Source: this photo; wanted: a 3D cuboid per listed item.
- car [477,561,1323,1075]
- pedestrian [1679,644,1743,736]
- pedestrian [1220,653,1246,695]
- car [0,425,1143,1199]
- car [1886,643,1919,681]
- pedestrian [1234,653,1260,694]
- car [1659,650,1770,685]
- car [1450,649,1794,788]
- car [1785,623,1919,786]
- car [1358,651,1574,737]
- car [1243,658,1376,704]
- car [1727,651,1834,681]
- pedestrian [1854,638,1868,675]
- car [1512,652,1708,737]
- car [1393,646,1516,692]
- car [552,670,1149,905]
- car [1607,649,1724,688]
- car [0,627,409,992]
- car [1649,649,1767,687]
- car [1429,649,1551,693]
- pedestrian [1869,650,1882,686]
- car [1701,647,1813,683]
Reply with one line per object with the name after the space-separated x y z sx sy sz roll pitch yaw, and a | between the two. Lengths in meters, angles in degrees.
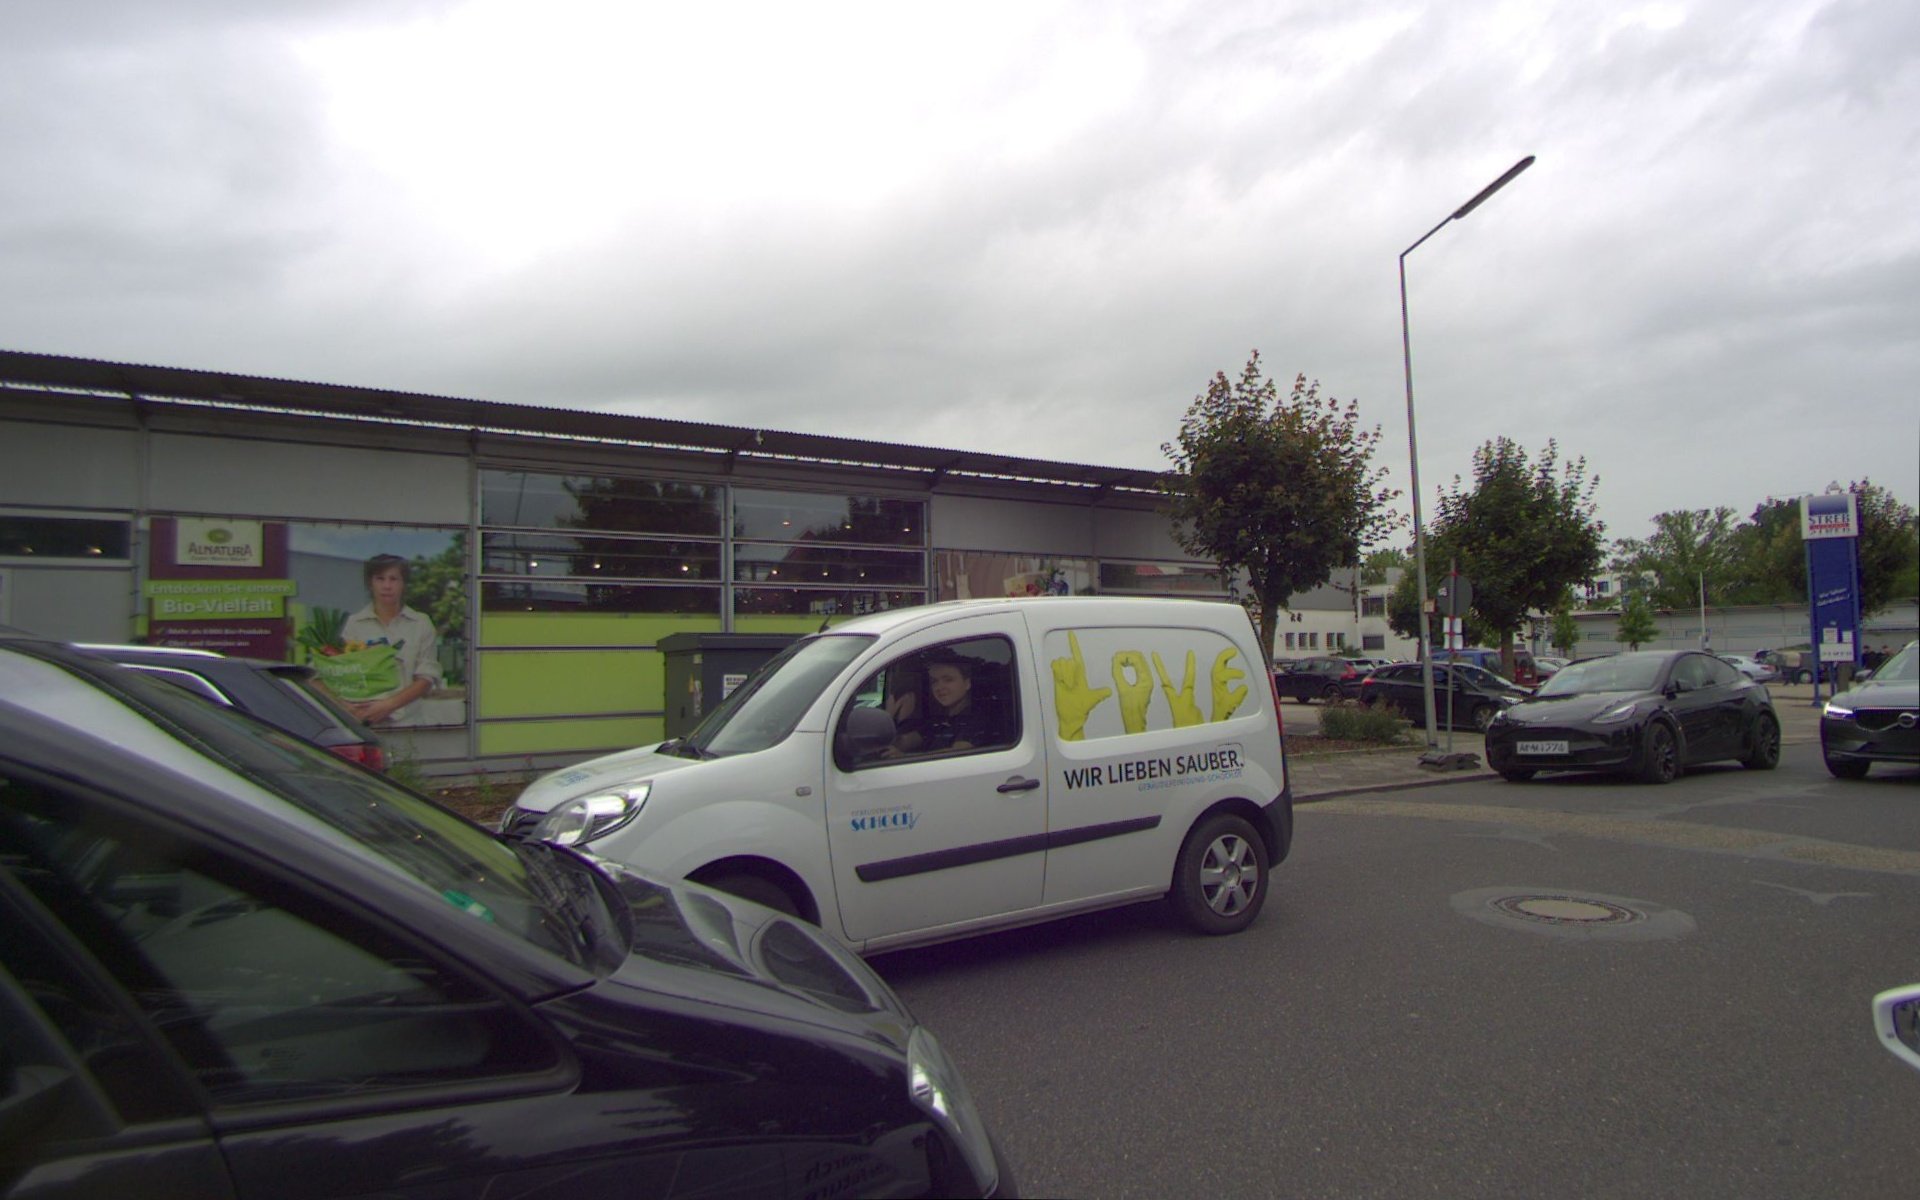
-0.216 0.846 5.262 4.084 1.783 1.683 1 -4 -29 | car
14.673 1.733 19.630 0.689 1.737 0.771 2 -3 -34 | pedestrian
11.377 3.070 41.913 0.689 1.738 0.795 1 -2 -34 | pedestrian
-1.739 0.708 1.301 3.714 1.653 1.674 1 -4 -30 | car
39.116 2.387 39.141 1.879 1.482 4.111 2 -4 -34 | car
12.211 3.115 42.728 0.689 1.738 0.795 1 -2 -34 | pedestrian
37.489 3.358 50.005 1.853 1.690 3.971 1 -4 -29 | car
8.704 1.498 13.154 4.351 1.545 1.939 1 -8 -31 | car
11.919 1.162 11.796 4.441 1.705 1.925 1 -5 -30 | car
10.953 1.967 22.012 1.904 1.641 3.858 1 -3 -29 | car
12.153 2.805 35.041 1.865 1.504 3.948 3 -5 -45 | car
43.084 3.475 52.855 1.764 1.511 3.972 1 -4 -28 | car
39.446 2.486 43.962 0.500 1.590 0.356 2 -4 -43 | pedestrian
16.871 2.420 26.239 1.744 2.039 3.904 2 -4 -36 | car
19.313 2.702 39.416 1.853 1.690 3.971 1 -4 -29 | car
-0.788 1.355 8.099 4.465 1.384 1.692 1 -9 -30 | car
32.515 3.157 46.382 1.853 1.690 3.971 1 -4 -29 | car
-5.574 1.083 5.255 4.671 1.712 1.859 1 -7 -29 | car
34.921 3.182 47.016 1.853 1.690 3.971 1 -4 -29 | car
21.366 2.863 40.627 1.853 1.690 3.971 1 -4 -29 | car
39.933 2.963 43.809 0.500 1.590 0.327 2 -4 -43 | pedestrian
39.950 3.274 50.428 1.853 1.690 3.971 1 -4 -29 | car
